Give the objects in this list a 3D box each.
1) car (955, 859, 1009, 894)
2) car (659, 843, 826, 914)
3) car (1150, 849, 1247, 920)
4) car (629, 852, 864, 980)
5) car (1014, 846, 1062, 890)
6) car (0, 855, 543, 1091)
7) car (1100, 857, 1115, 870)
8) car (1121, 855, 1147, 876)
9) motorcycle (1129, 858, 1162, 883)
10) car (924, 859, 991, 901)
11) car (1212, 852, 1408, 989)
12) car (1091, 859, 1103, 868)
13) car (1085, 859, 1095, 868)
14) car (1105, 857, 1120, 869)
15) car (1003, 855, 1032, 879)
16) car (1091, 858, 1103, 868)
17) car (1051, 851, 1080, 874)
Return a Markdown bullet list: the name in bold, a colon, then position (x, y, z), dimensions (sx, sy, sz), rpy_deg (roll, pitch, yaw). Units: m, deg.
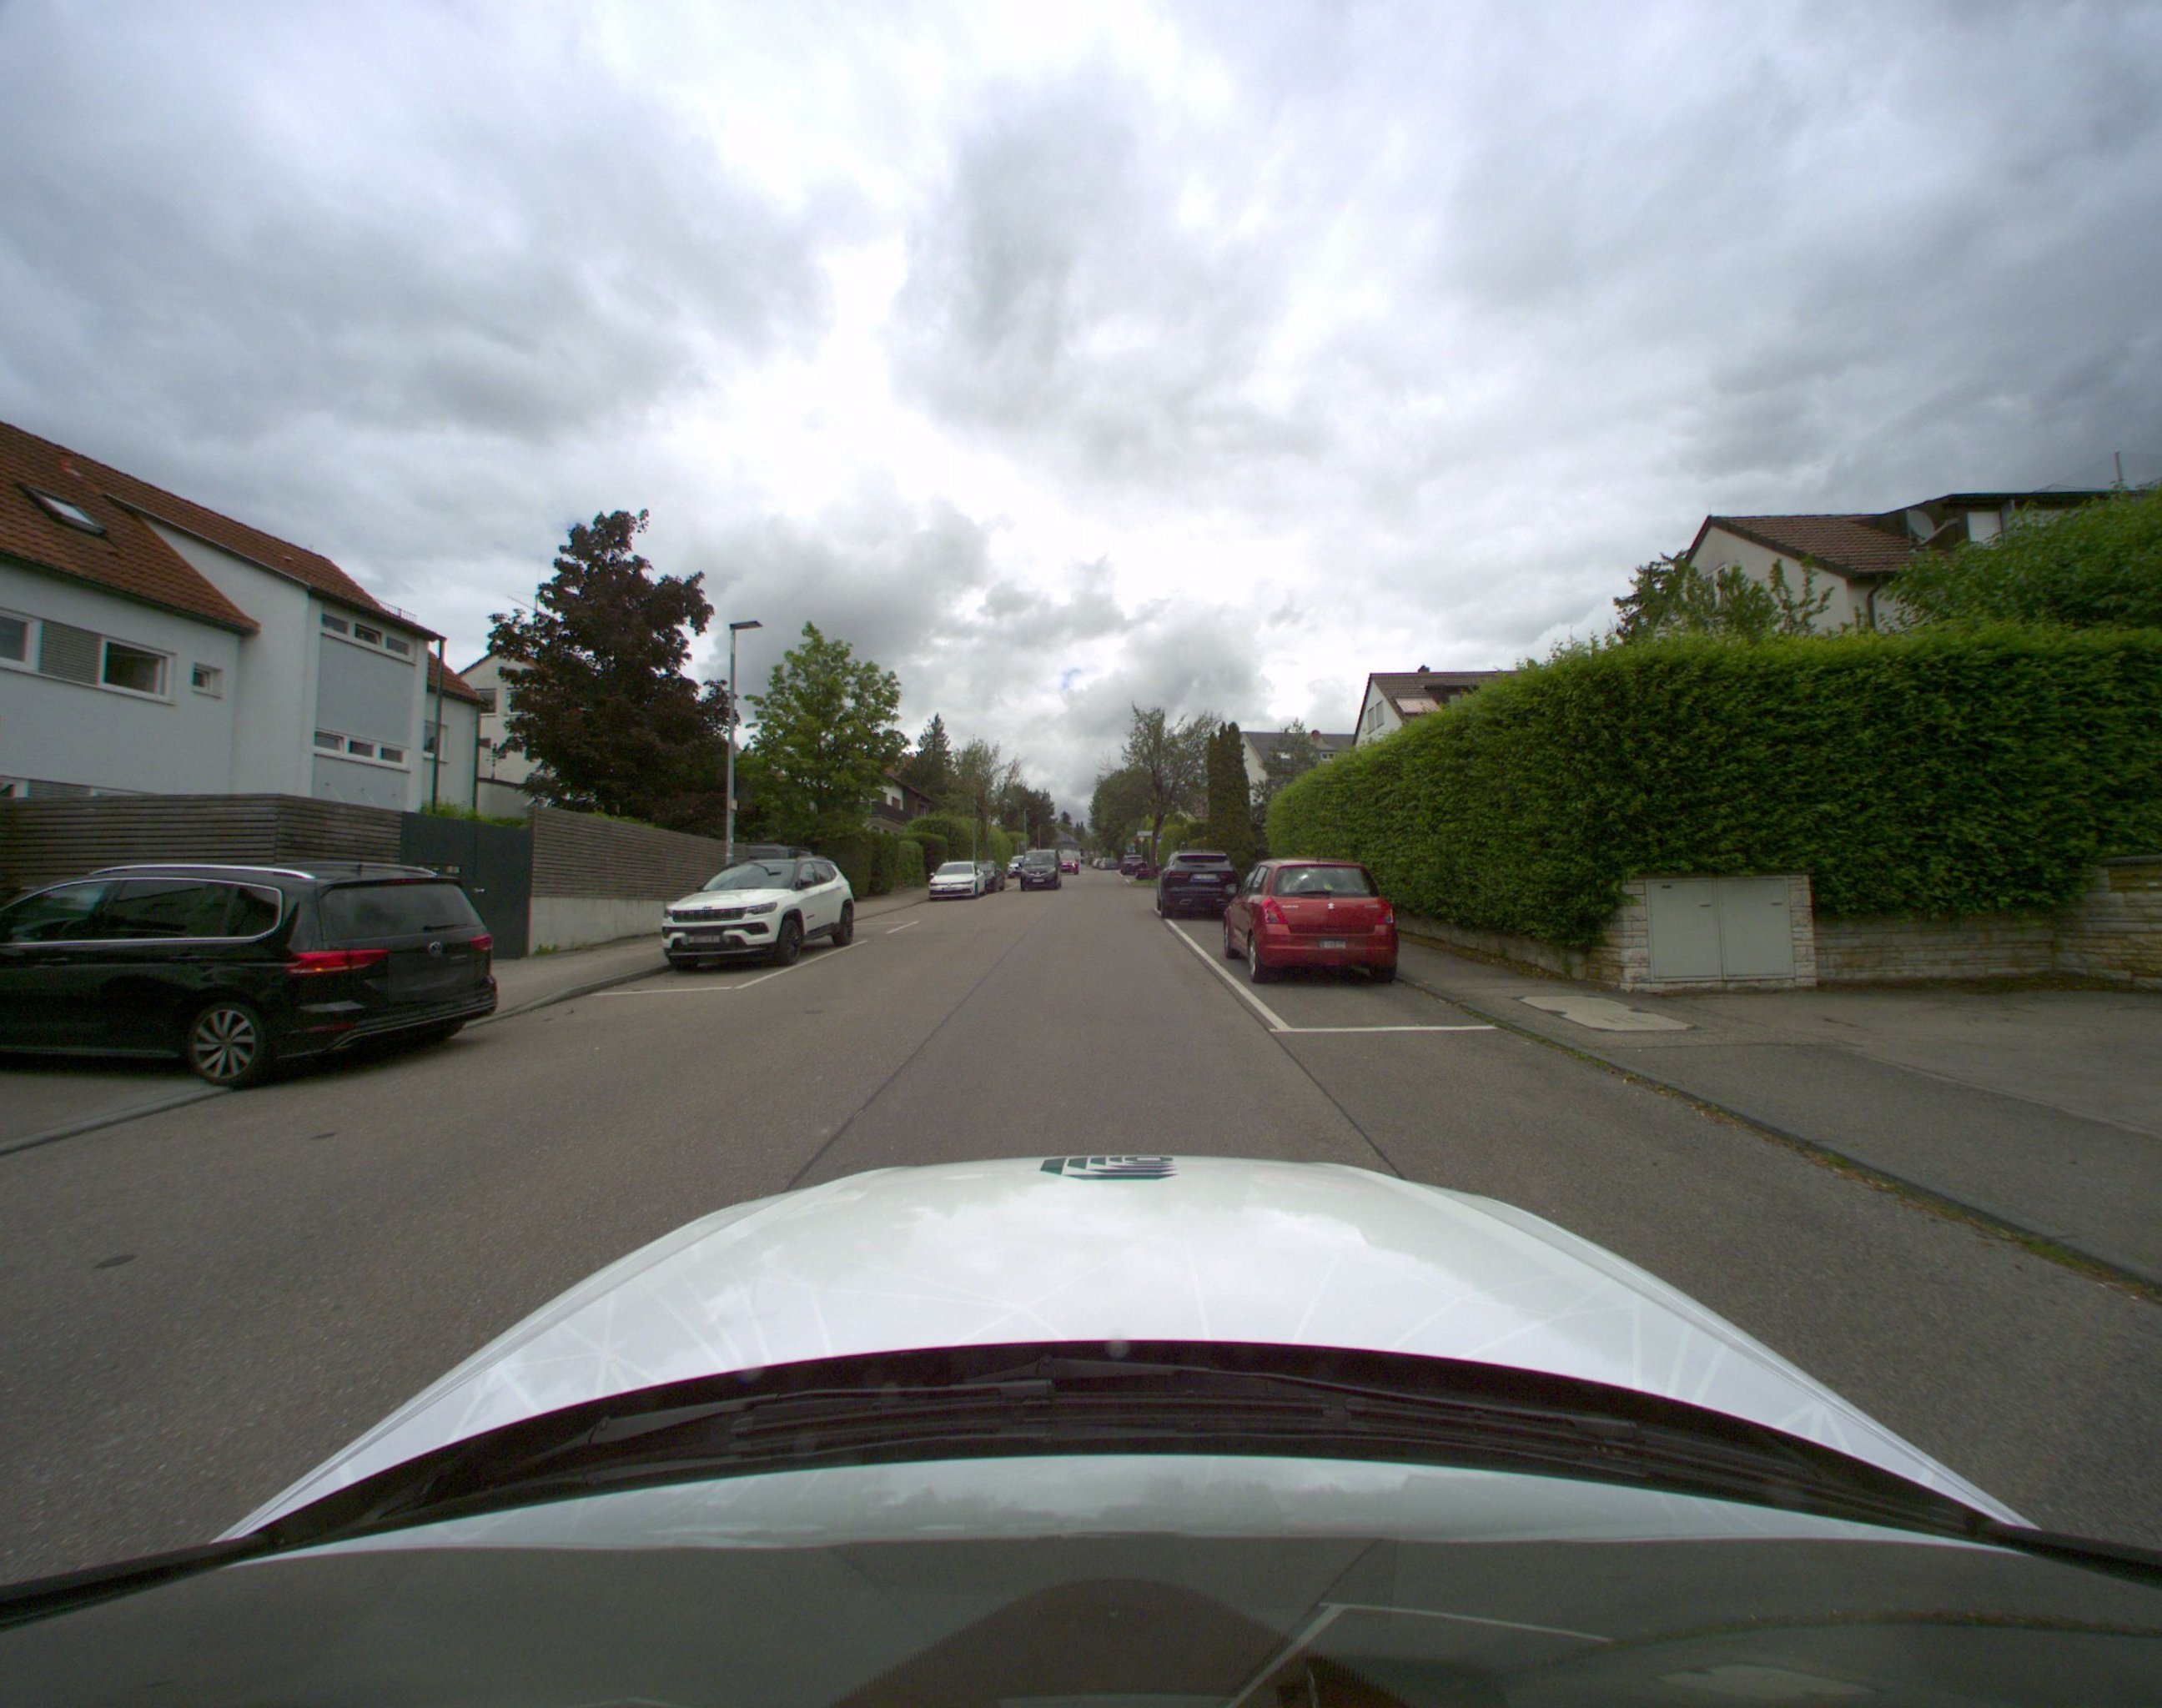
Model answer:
- **car**: position (-4.386, 0.978, 36.661), dimensions (1.721, 1.423, 4.080), rpy_deg (-2, -1, 2)
- **car**: position (-9.914, 0.731, 23.992), dimensions (4.048, 1.950, 2.005), rpy_deg (-1, -2, 9)
- **car**: position (2.898, 0.720, 21.023), dimensions (1.986, 1.618, 4.515), rpy_deg (1, 0, 2)
- **car**: position (-5.171, 0.853, 13.359), dimensions (1.830, 1.666, 4.410), rpy_deg (-3, 0, 2)
- **car**: position (-1.917, 0.624, 37.899), dimensions (1.878, 1.851, 4.402), rpy_deg (-2, 0, 1)
- **car**: position (-7.340, 0.860, 6.964), dimensions (4.276, 1.611, 1.856), rpy_deg (1, 0, 5)
- **car**: position (3.652, 1.324, 111.282), dimensions (1.709, 1.657, 3.618), rpy_deg (-1, 0, -3)
- **car**: position (4.080, 0.889, 63.438), dimensions (1.875, 1.533, 4.477), rpy_deg (0, 0, 2)
- **motorcycle**: position (3.635, 0.899, 45.685), dimensions (1.876, 1.346, 0.593), rpy_deg (-1, 0, -35)
- **car**: position (-4.738, 0.964, 31.918), dimensions (1.831, 1.422, 4.408), rpy_deg (-3, 0, 1)
- **car**: position (2.870, 0.741, 11.013), dimensions (1.655, 1.508, 3.759), rpy_deg (-1, 0, 1)
- **car**: position (2.513, 1.539, 131.287), dimensions (1.661, 1.501, 3.464), rpy_deg (-1, 0, -3)
- **car**: position (1.699, 1.755, 153.562), dimensions (1.640, 1.668, 3.464), rpy_deg (-1, 0, -3)
- **car**: position (4.060, 1.165, 106.640), dimensions (1.661, 1.501, 3.464), rpy_deg (-1, 0, -3)
- **car**: position (-4.349, 0.864, 56.382), dimensions (1.717, 1.540, 3.998), rpy_deg (-2, 0, -1)
- **car**: position (2.688, 1.463, 138.098), dimensions (1.661, 1.668, 3.464), rpy_deg (-1, 0, -3)
- **car**: position (-1.175, 0.650, 62.762), dimensions (1.934, 1.647, 4.259), rpy_deg (-3, 0, 1)
